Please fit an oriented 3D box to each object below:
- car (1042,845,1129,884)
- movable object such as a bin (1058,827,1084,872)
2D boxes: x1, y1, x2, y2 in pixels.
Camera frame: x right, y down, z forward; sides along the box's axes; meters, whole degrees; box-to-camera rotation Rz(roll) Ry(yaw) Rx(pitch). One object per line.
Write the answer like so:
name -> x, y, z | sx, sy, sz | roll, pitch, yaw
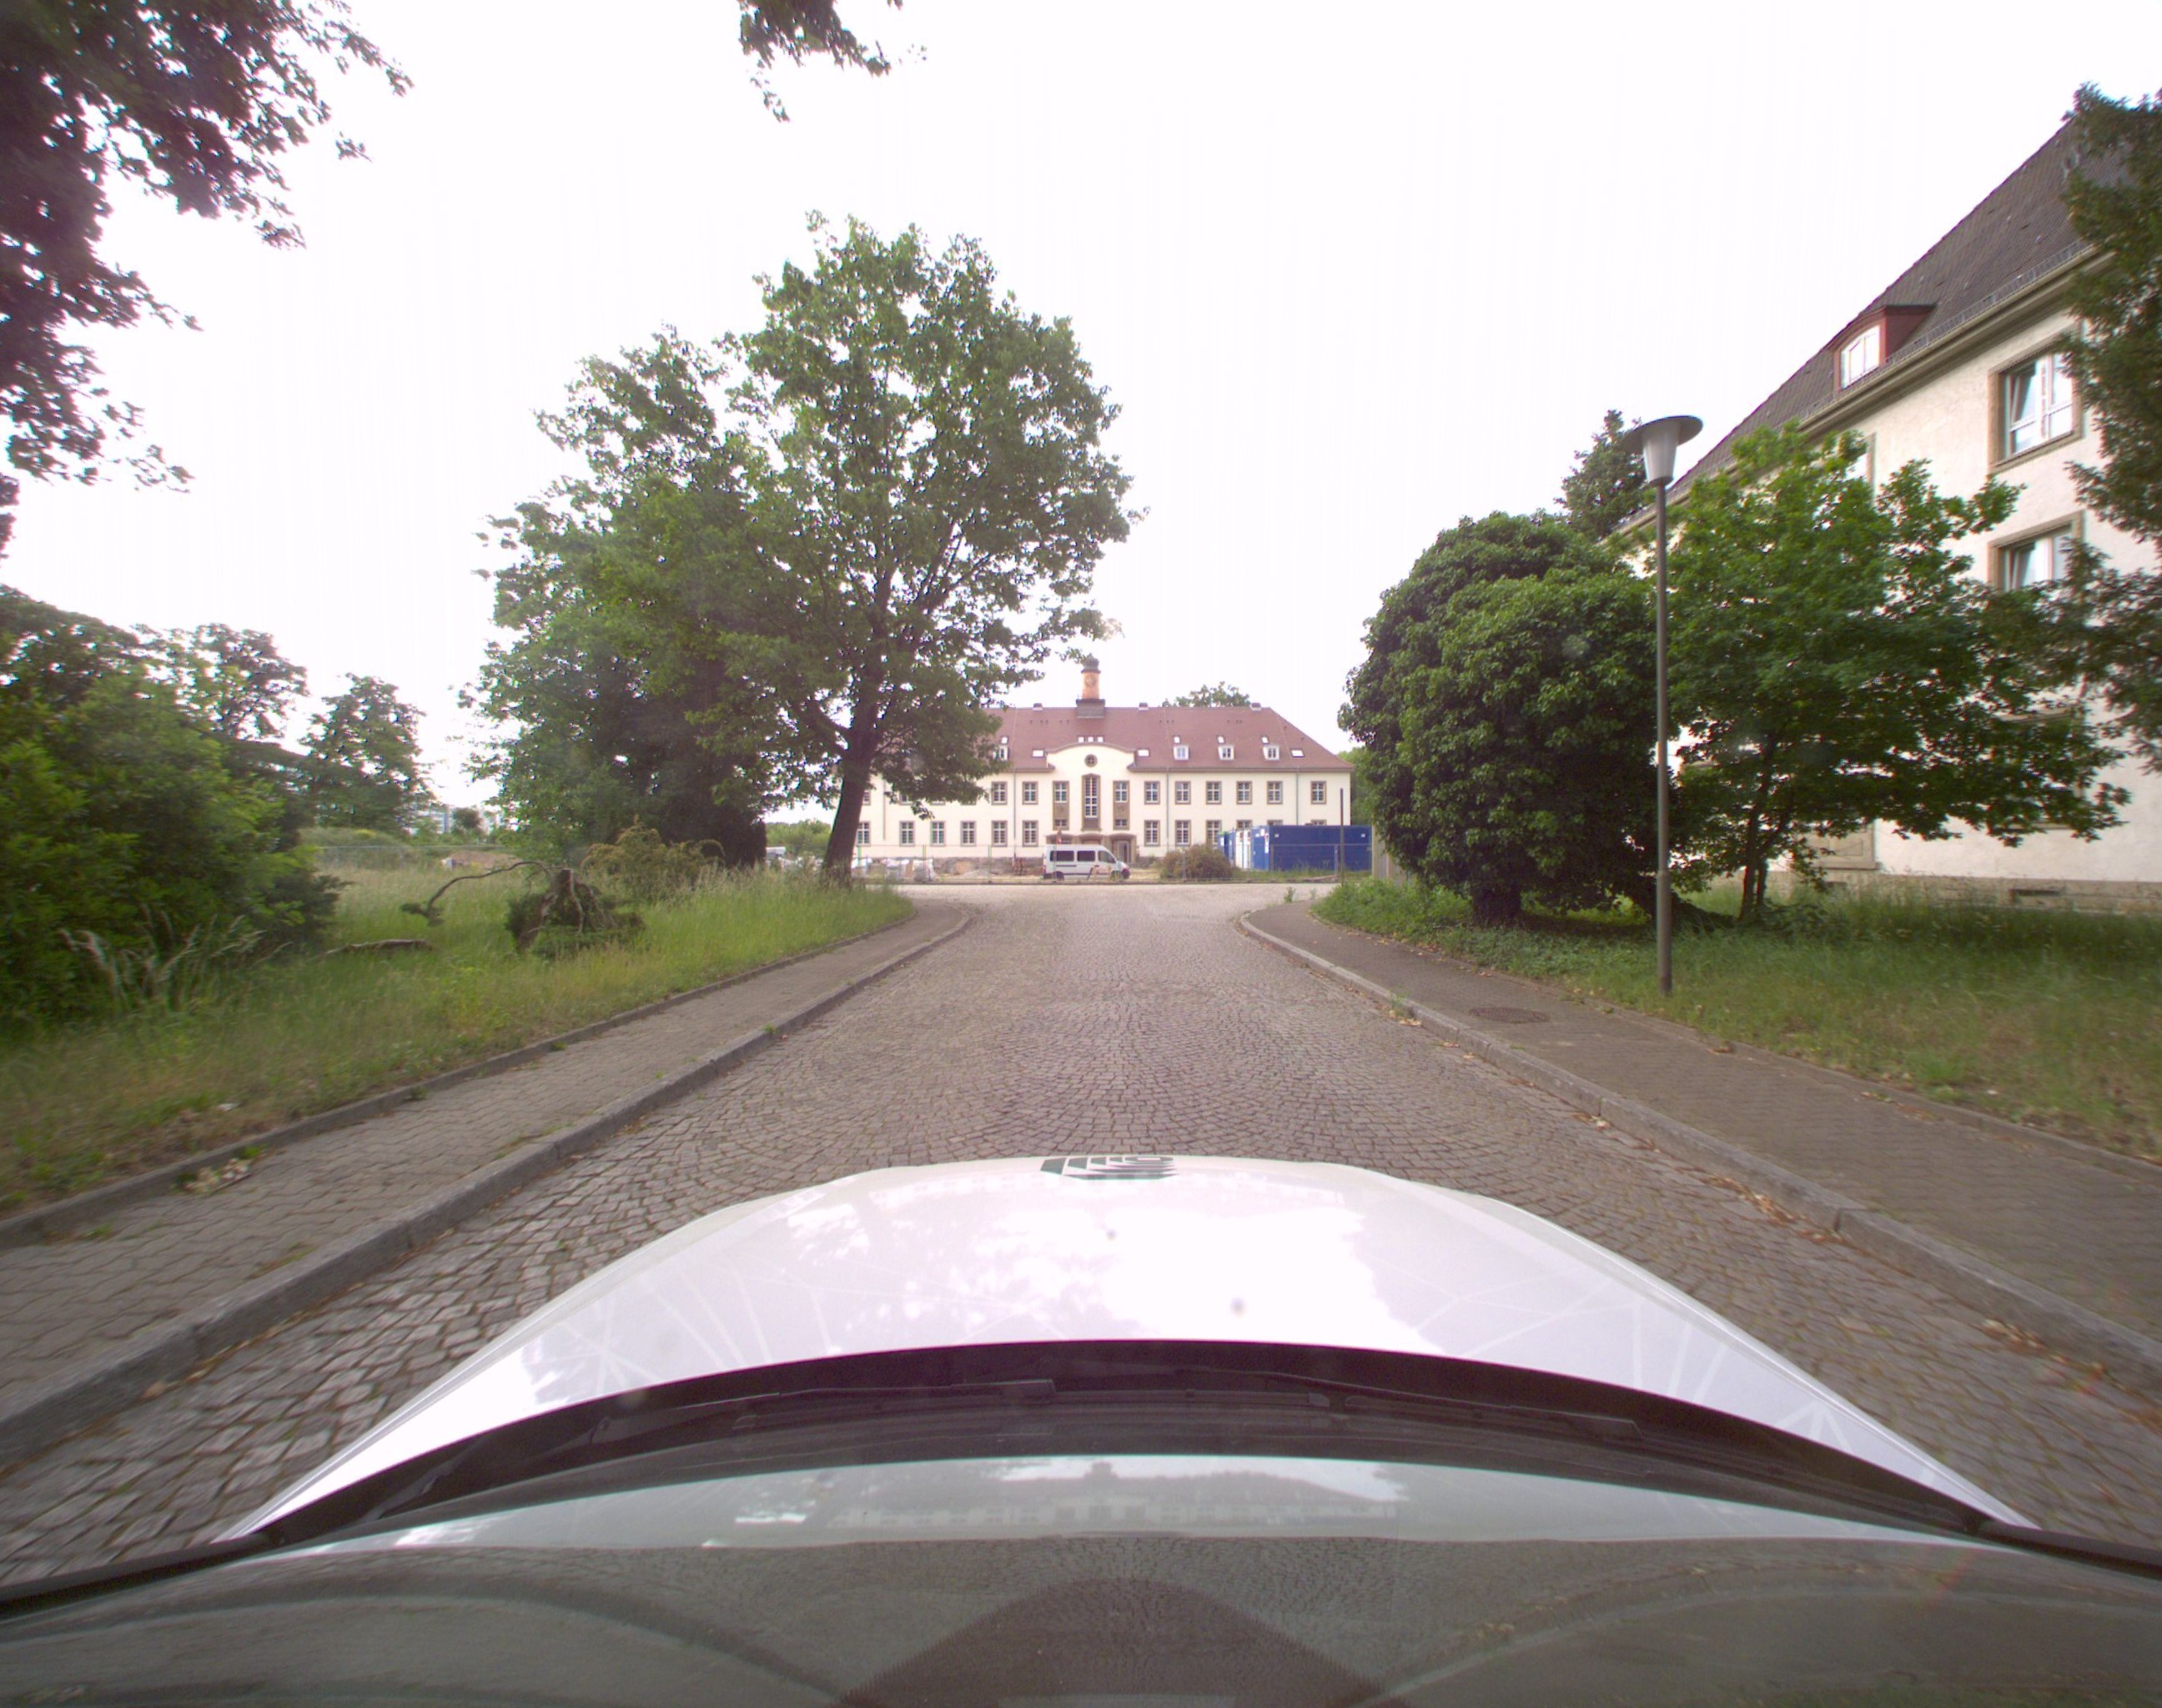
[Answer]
car -> 0.295, 0.619, 50.235 | 5.243, 2.344, 1.910 | 0, 0, 1
movable object such as a bin -> -0.918, -0.354, 70.283 | 1.989, 3.771, 5.311 | 0, 0, -3
